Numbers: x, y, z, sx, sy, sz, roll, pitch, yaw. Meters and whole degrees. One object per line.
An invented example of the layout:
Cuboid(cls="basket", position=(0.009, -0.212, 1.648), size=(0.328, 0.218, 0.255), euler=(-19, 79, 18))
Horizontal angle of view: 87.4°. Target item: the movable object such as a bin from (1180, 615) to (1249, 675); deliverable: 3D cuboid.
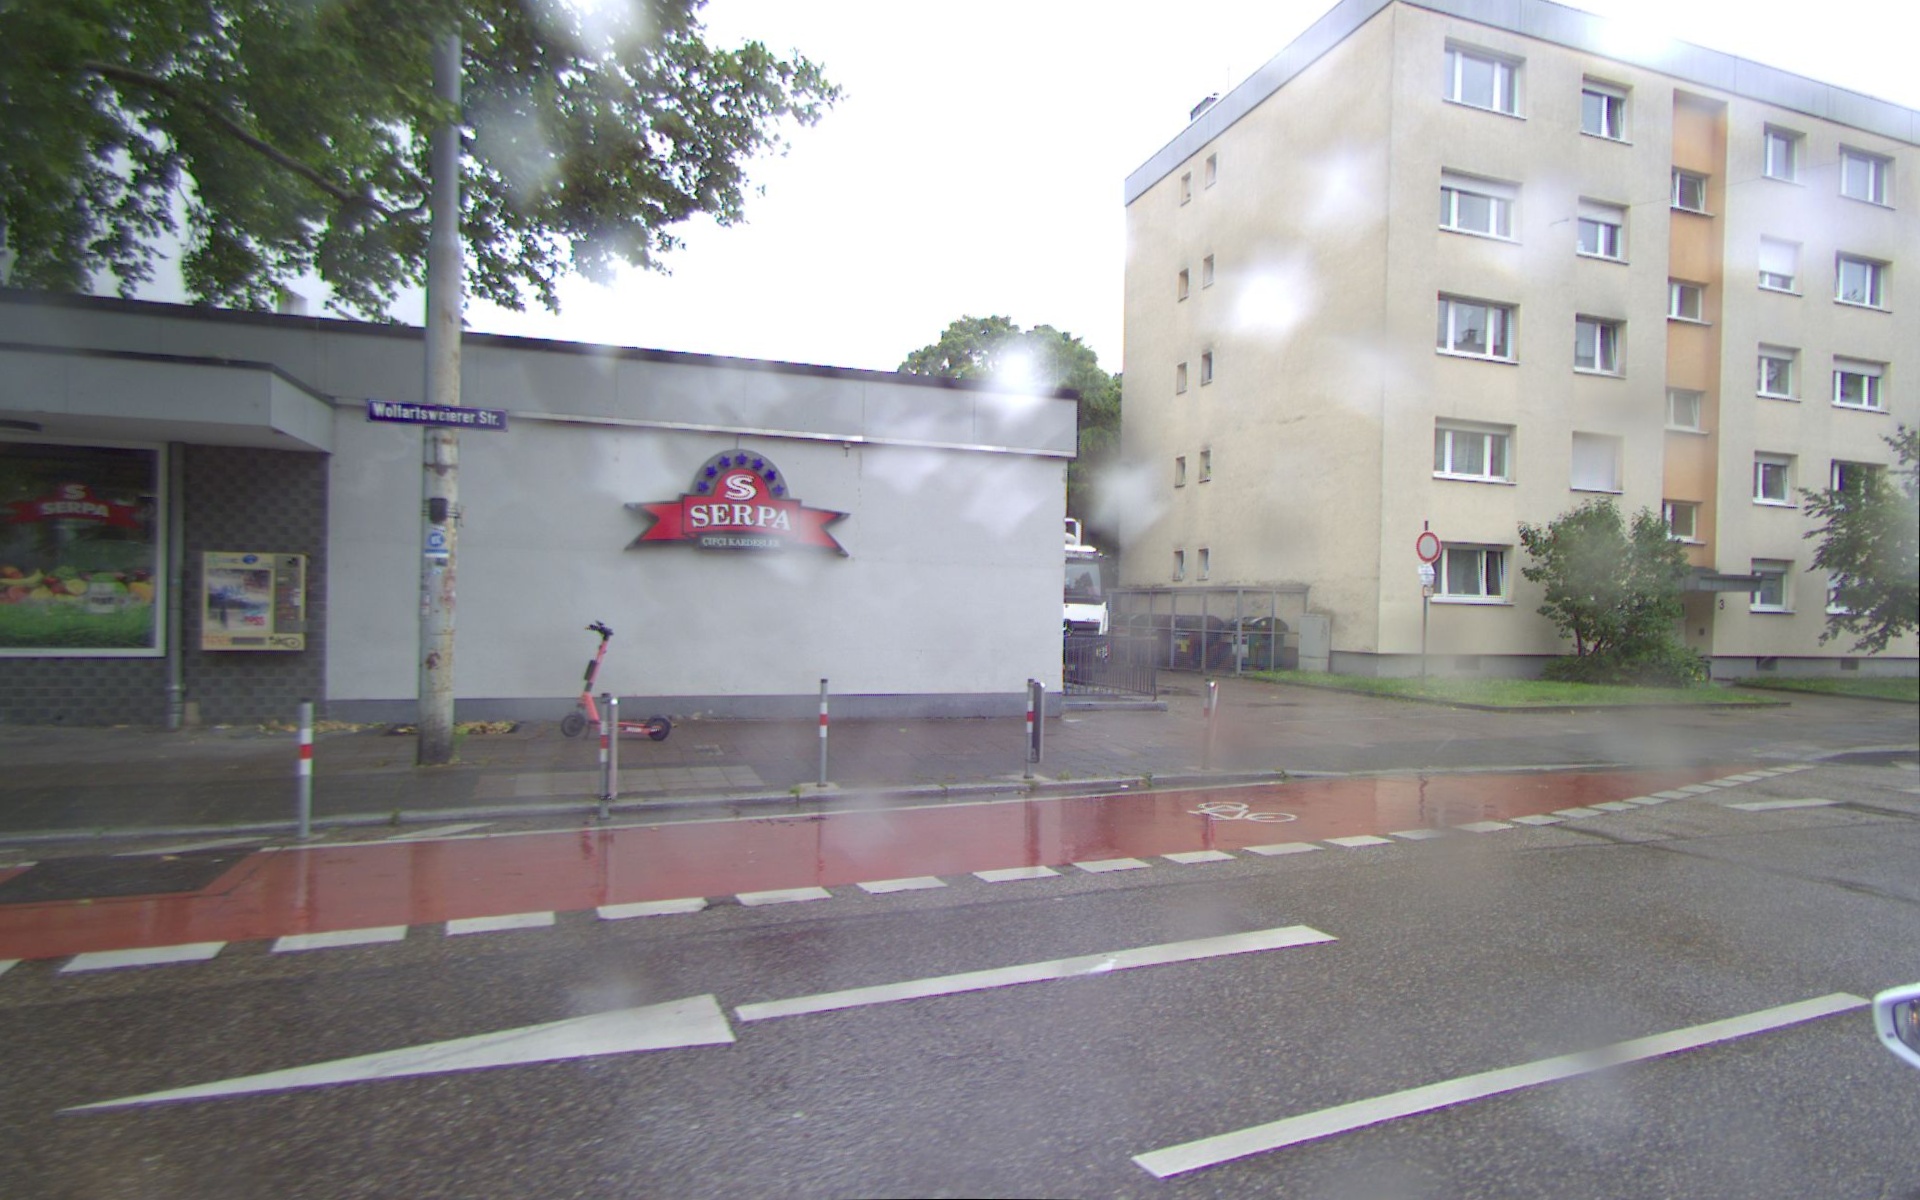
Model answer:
Cuboid(cls="movable object such as a bin", position=(6.635, 1.158, 26.233), size=(1.184, 1.495, 1.327), euler=(2, 0, -22))

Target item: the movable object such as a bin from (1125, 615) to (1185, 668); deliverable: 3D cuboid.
Cuboid(cls="movable object such as a bin", position=(5.658, 1.192, 29.224), size=(1.184, 1.495, 1.327), euler=(2, 0, -22))

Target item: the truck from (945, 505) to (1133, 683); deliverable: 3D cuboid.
Cuboid(cls="truck", position=(1.677, -0.093, 23.986), size=(2.144, 3.693, 5.670), euler=(2, -1, -22))

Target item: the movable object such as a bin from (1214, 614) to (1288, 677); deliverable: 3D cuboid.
Cuboid(cls="movable object such as a bin", position=(7.162, 1.116, 24.762), size=(1.184, 1.495, 1.327), euler=(2, 0, -22))

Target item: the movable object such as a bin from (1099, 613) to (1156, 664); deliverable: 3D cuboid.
Cuboid(cls="movable object such as a bin", position=(5.094, 1.154, 30.605), size=(1.184, 1.495, 1.327), euler=(2, 0, -22))

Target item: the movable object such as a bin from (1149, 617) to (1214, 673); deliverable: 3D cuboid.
Cuboid(cls="movable object such as a bin", position=(6.106, 1.227, 27.765), size=(1.184, 1.495, 1.327), euler=(2, 0, -22))

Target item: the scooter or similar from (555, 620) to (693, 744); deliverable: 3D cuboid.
Cuboid(cls="scooter or similar", position=(-3.621, 0.876, 10.858), size=(1.354, 1.283, 0.437), euler=(2, 0, -20))

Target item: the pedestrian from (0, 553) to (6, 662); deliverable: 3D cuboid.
Cuboid(cls="pedestrian", position=(-14.716, 0.105, 14.921), size=(0.634, 1.650, 0.566), euler=(1, 0, -31))
